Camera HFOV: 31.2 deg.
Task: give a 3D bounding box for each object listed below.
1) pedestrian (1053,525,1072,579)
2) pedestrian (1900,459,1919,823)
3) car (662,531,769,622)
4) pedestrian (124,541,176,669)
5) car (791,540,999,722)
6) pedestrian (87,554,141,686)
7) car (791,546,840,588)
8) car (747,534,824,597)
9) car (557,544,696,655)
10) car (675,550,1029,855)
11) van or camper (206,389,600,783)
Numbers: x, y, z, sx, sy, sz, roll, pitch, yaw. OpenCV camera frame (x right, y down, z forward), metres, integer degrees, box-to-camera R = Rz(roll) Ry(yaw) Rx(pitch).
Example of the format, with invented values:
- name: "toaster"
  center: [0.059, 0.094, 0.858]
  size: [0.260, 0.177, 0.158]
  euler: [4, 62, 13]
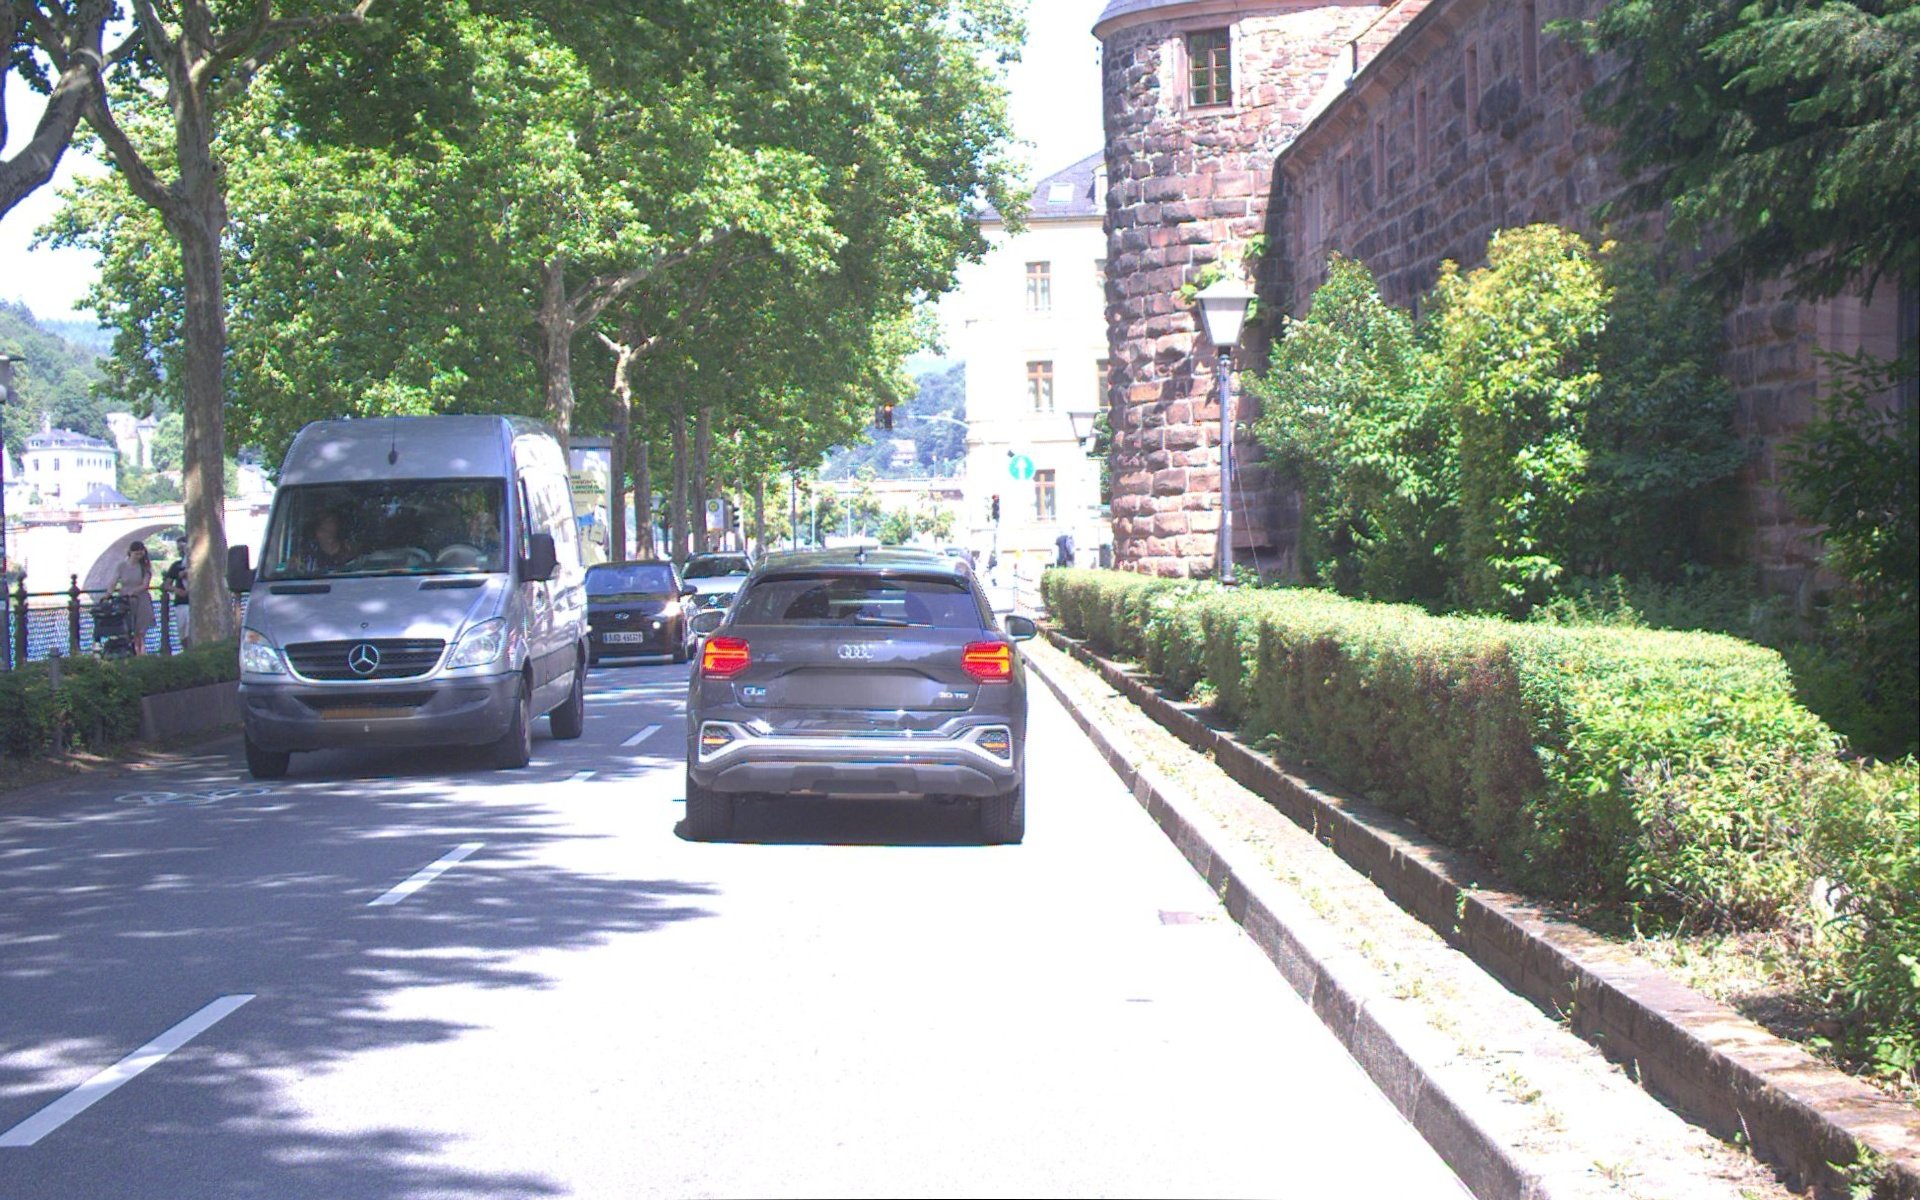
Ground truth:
- name: "pedestrian"
  center: [3.132, -1.471, 104.918]
  size: [0.557, 1.627, 0.660]
  euler: [1, 0, 1]
- name: "pedestrian"
  center: [4.668, 0.182, 15.382]
  size: [0.698, 1.647, 0.705]
  euler: [-2, 1, 2]
- name: "car"
  center: [-4.835, -0.488, 68.493]
  size: [1.877, 1.692, 4.259]
  euler: [-2, 1, -1]
- name: "pedestrian"
  center: [-9.979, 0.058, 42.362]
  size: [0.457, 1.549, 0.586]
  euler: [-2, 1, -1]
- name: "car"
  center: [-0.563, 0.241, 32.239]
  size: [1.801, 1.557, 3.716]
  euler: [2, 1, 0]
- name: "pedestrian"
  center: [-10.132, 0.238, 41.175]
  size: [0.457, 1.549, 0.586]
  euler: [-2, 1, -1]
- name: "car"
  center: [-5.492, -1.258, 130.616]
  size: [1.615, 1.518, 3.476]
  euler: [1, 1, 1]
- name: "car"
  center: [-4.836, -0.978, 95.693]
  size: [1.763, 1.642, 4.090]
  euler: [-2, 1, 2]
- name: "car"
  center: [-4.704, -0.035, 48.854]
  size: [1.649, 1.464, 3.780]
  euler: [-2, 1, -1]
- name: "car"
  center: [-0.590, 0.487, 18.997]
  size: [1.748, 1.489, 3.629]
  euler: [1, 1, -2]
- name: "van or camper"
  center: [-4.062, -0.127, 26.102]
  size: [1.961, 2.558, 5.841]
  euler: [-3, 1, 0]
